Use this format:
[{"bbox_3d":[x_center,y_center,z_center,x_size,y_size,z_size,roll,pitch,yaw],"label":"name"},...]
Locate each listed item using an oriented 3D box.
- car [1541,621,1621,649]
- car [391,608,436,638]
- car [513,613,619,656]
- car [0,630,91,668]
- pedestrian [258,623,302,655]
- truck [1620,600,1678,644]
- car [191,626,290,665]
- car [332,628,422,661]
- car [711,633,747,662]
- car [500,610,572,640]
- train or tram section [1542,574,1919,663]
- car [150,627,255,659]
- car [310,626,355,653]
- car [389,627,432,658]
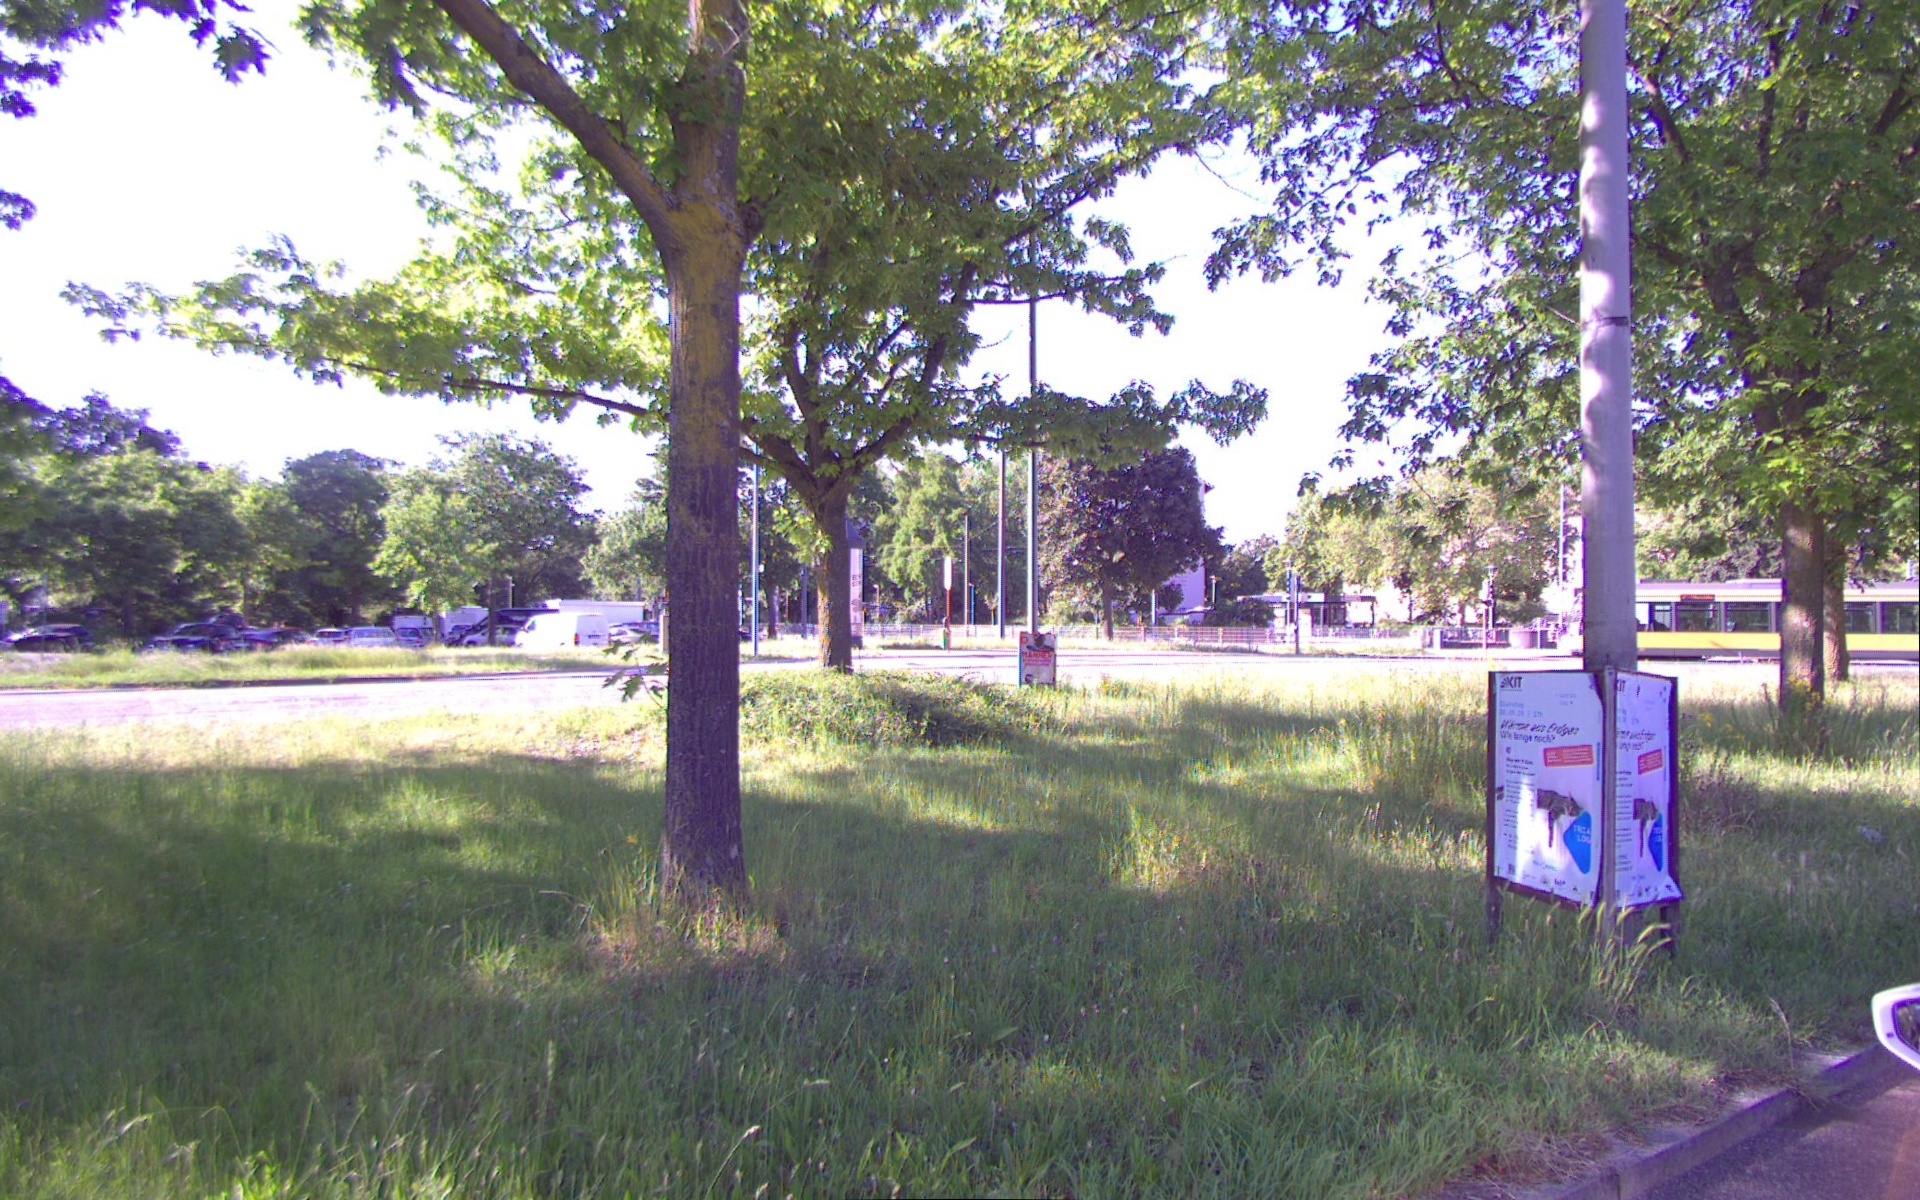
[{"bbox_3d":[39.594,2.213,64.130,3.919,1.706,2.001,0,-1,9],"label":"car"},{"bbox_3d":[-32.485,1.370,59.790,1.865,1.691,3.733,1,-1,-22],"label":"car"},{"bbox_3d":[-17.216,1.479,43.803,4.670,1.762,2.024,0,-1,34],"label":"car"},{"bbox_3d":[-47.740,2.499,51.828,1.966,1.817,3.990,0,-1,32],"label":"car"},{"bbox_3d":[-27.578,1.568,40.731,1.130,1.292,1.105,0,-1,33],"label":"pedestrian"},{"bbox_3d":[46.644,1.482,68.089,1.960,2.842,4.002,0,-1,15],"label":"truck"},{"bbox_3d":[-25.231,1.567,35.247,2.769,1.323,1.326,1,-1,-40],"label":"car"},{"bbox_3d":[-21.824,1.638,37.637,2.769,1.171,1.326,1,-1,-40],"label":"car"},{"bbox_3d":[-12.028,2.458,52.490,1.589,1.438,3.073,0,-1,-8],"label":"car"},{"bbox_3d":[-24.127,1.418,57.292,3.698,1.691,1.883,1,-1,-23],"label":"car"},{"bbox_3d":[35.652,0.761,42.337,18.997,3.559,3.307,0,-1,18],"label":"train or tram section"},{"bbox_3d":[-26.841,1.508,35.632,1.315,1.078,2.777,-1,-1,42],"label":"car"},{"bbox_3d":[-29.292,1.829,46.869,1.603,1.194,3.047,1,-1,-35],"label":"car"},{"bbox_3d":[-26.699,2.033,48.782,1.602,1.438,3.050,1,-1,-33],"label":"car"}]
